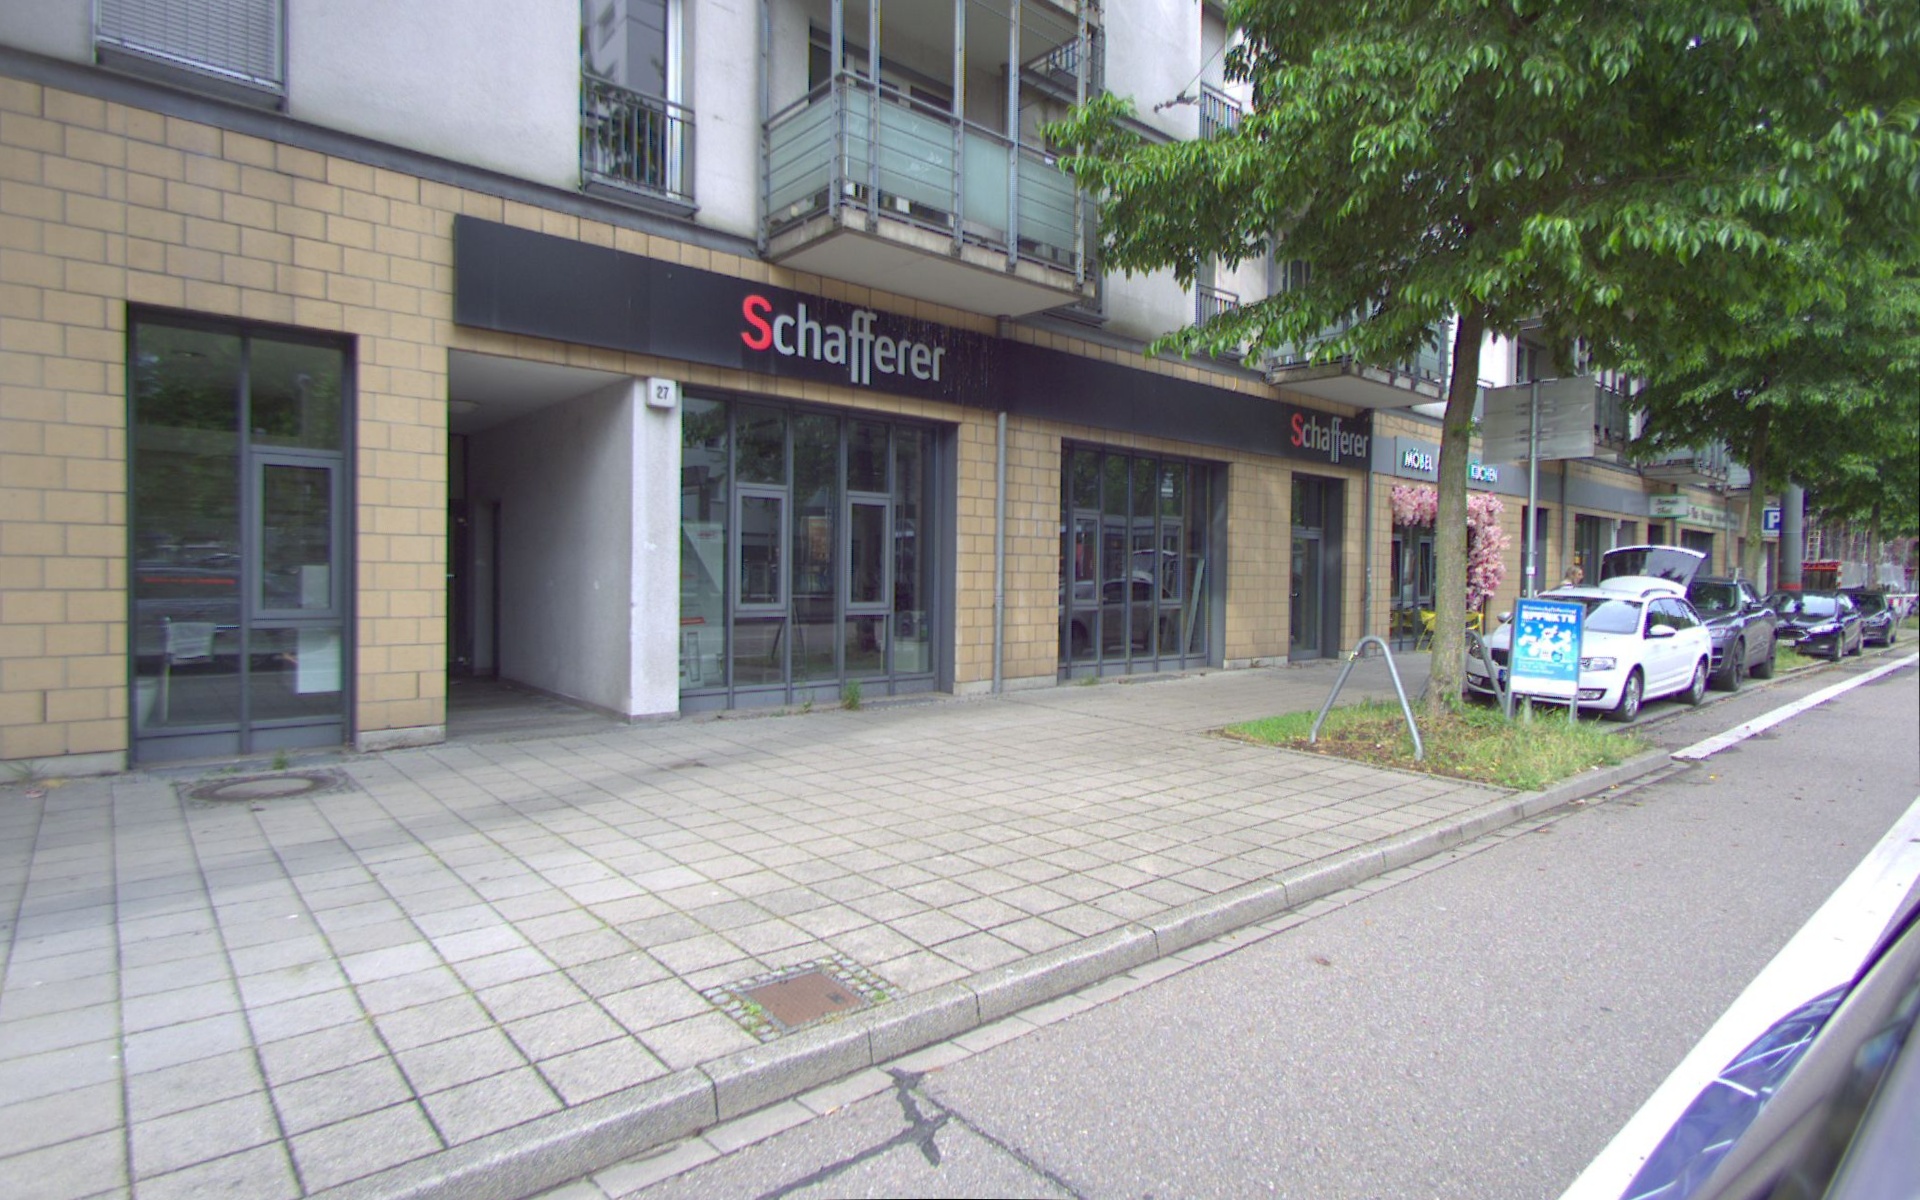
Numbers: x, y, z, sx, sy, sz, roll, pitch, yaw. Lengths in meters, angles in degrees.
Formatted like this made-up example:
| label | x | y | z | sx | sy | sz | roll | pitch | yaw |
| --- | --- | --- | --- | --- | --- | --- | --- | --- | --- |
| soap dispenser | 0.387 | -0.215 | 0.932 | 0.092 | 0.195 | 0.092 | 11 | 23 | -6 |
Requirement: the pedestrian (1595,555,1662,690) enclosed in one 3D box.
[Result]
| label | x | y | z | sx | sy | sz | roll | pitch | yaw |
| --- | --- | --- | --- | --- | --- | --- | --- | --- | --- |
| pedestrian | 9.751 | 0.312 | 14.757 | 0.588 | 1.907 | 0.656 | 0 | 1 | -41 |

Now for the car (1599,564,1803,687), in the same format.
| label | x | y | z | sx | sy | sz | roll | pitch | yaw |
| --- | --- | --- | --- | --- | --- | --- | --- | --- | --- |
| car | 11.785 | 0.315 | 16.024 | 3.732 | 1.630 | 1.738 | -1 | 5 | -41 |

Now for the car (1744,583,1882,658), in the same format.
| label | x | y | z | sx | sy | sz | roll | pitch | yaw |
| --- | --- | --- | --- | --- | --- | --- | --- | --- | --- |
| car | 18.625 | 0.383 | 22.040 | 4.095 | 1.394 | 1.612 | -1 | 5 | -41 |

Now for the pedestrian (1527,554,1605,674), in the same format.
| label | x | y | z | sx | sy | sz | roll | pitch | yaw |
| --- | --- | --- | --- | --- | --- | --- | --- | --- | --- |
| pedestrian | 9.037 | 0.192 | 15.124 | 0.724 | 1.738 | 0.618 | 1 | 2 | 2 |

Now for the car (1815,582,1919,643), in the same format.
| label | x | y | z | sx | sy | sz | roll | pitch | yaw |
| --- | --- | --- | --- | --- | --- | --- | --- | --- | --- |
| car | 24.146 | 0.283 | 26.866 | 3.603 | 1.417 | 1.612 | -1 | 5 | -41 |

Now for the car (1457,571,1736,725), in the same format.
| label | x | y | z | sx | sy | sz | roll | pitch | yaw |
| --- | --- | --- | --- | --- | --- | --- | --- | --- | --- |
| car | 8.113 | 0.471 | 12.751 | 4.233 | 1.539 | 1.738 | -1 | 5 | -41 |
